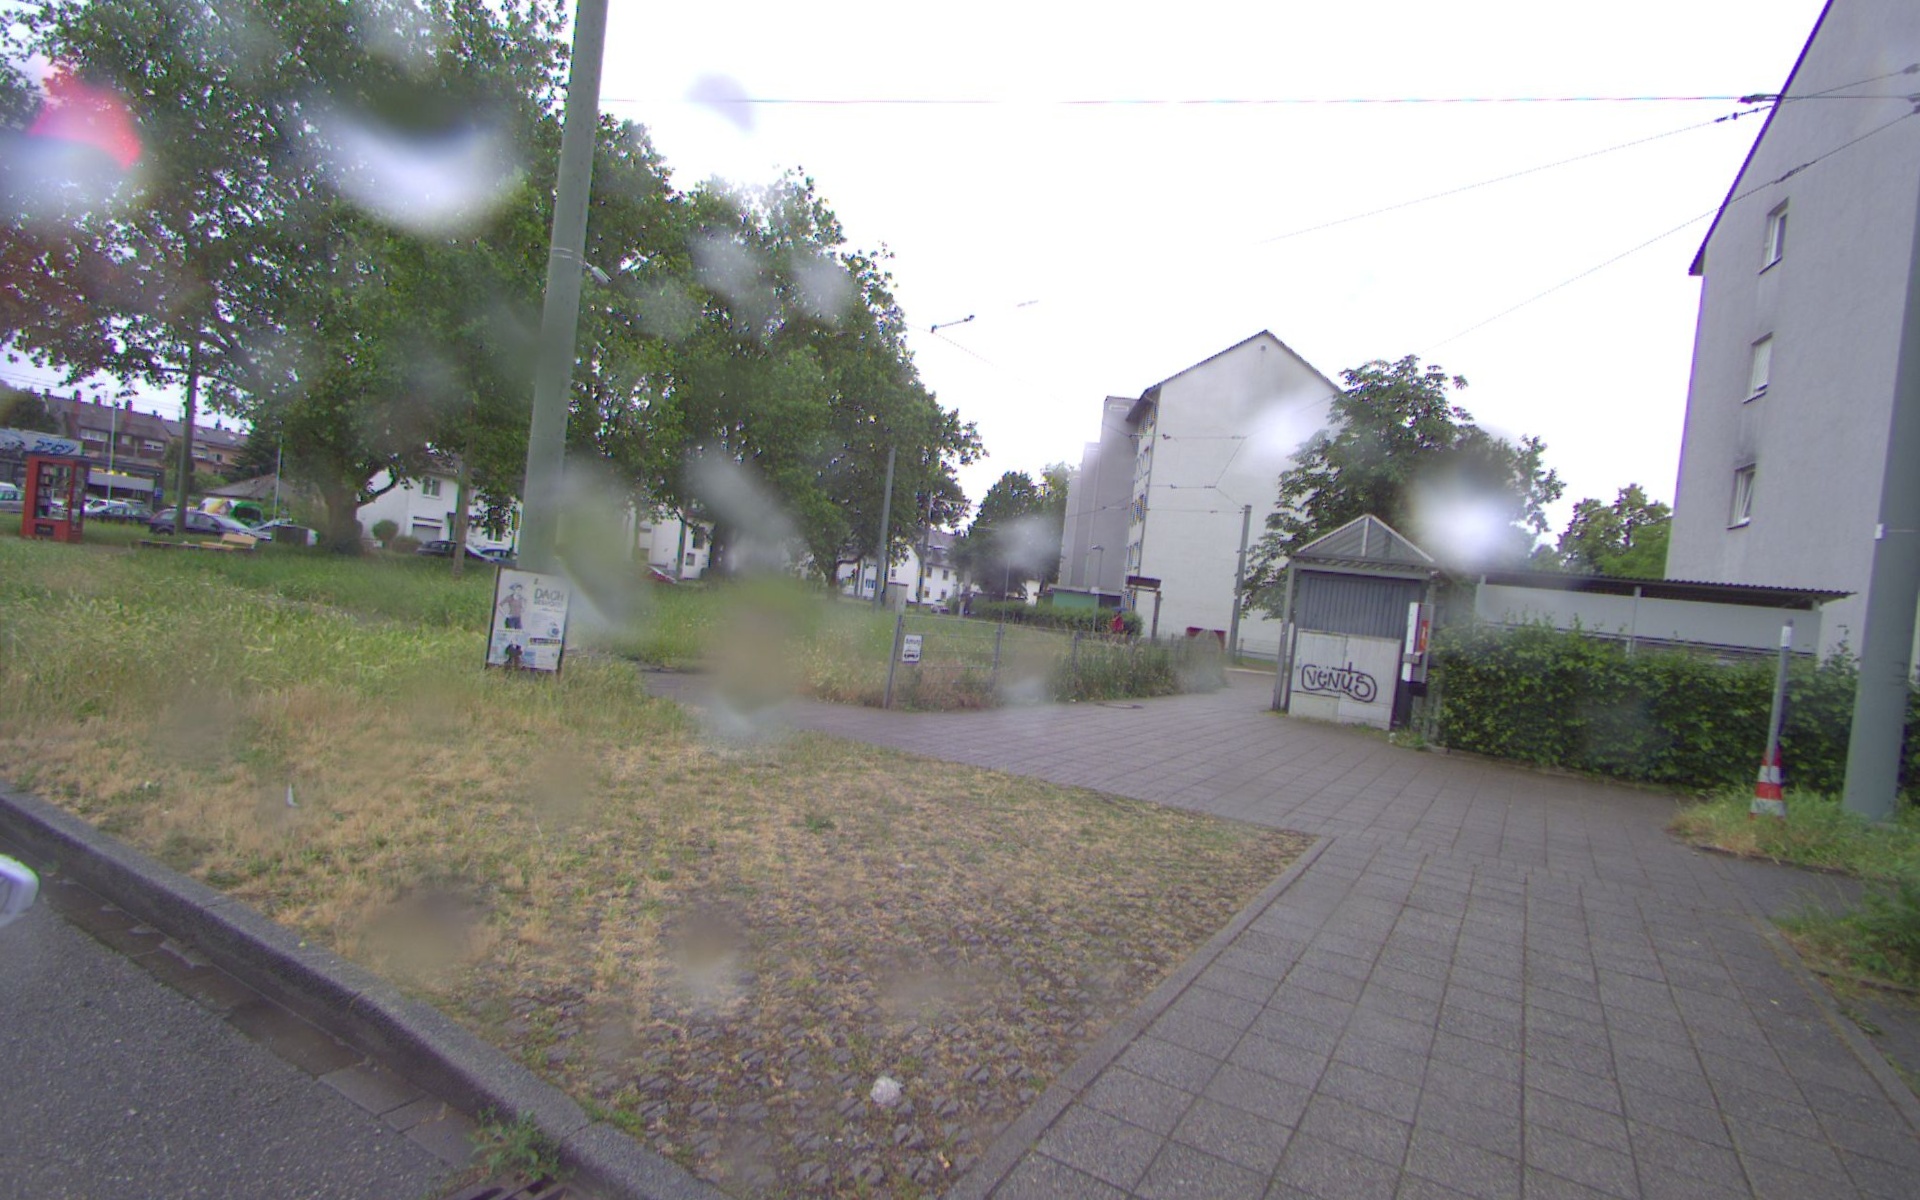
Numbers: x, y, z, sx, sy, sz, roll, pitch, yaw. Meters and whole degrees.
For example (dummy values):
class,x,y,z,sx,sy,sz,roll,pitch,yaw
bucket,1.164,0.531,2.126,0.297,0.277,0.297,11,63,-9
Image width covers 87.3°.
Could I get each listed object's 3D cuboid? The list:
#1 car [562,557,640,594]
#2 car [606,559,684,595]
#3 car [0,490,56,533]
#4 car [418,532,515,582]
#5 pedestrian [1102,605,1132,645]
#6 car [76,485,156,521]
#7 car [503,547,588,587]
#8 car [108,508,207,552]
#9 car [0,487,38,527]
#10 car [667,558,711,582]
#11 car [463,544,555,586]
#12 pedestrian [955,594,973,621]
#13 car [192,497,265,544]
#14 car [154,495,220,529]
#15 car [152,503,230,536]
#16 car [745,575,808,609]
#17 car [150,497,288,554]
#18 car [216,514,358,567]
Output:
class,x,y,z,sx,sy,sz,roll,pitch,yaw
car,-20.114,-1.360,56.530,3.855,1.512,1.806,8,-2,-15
car,-18.632,-1.334,59.587,3.842,1.513,1.812,7,-2,3
car,-46.585,-4.436,48.724,1.859,1.720,3.692,6,-2,32
car,-23.733,-2.043,48.527,3.710,1.819,1.806,8,-2,-15
pedestrian,7.195,1.157,46.056,0.806,1.674,0.889,6,-1,41
car,-61.690,-7.087,73.616,1.968,1.811,3.992,6,-2,34
car,-21.982,-1.729,53.497,3.855,1.512,1.806,8,-2,-15
car,-43.430,-3.787,54.507,1.859,1.720,3.692,6,-2,32
car,-54.726,-5.462,56.350,1.966,1.973,3.997,6,-2,30
car,-25.716,-2.801,95.522,1.859,1.679,3.692,6,-2,32
car,-22.808,-1.727,51.061,3.855,1.512,1.806,8,-2,-15
pedestrian,0.264,0.548,72.146,1.022,1.811,0.818,7,-1,-3
car,-46.747,-5.061,64.265,4.280,2.471,1.998,6,-2,31
car,-62.080,-7.075,80.773,3.924,2.037,2.003,7,-2,14
car,-55.468,-5.769,72.601,1.816,1.658,3.995,6,-2,32
car,-12.746,-0.546,70.100,3.843,1.785,1.812,7,-2,0
car,-29.195,-2.899,39.781,3.855,1.512,1.806,8,-2,-15
car,-25.163,-2.209,37.708,1.819,1.300,3.987,6,-3,39
